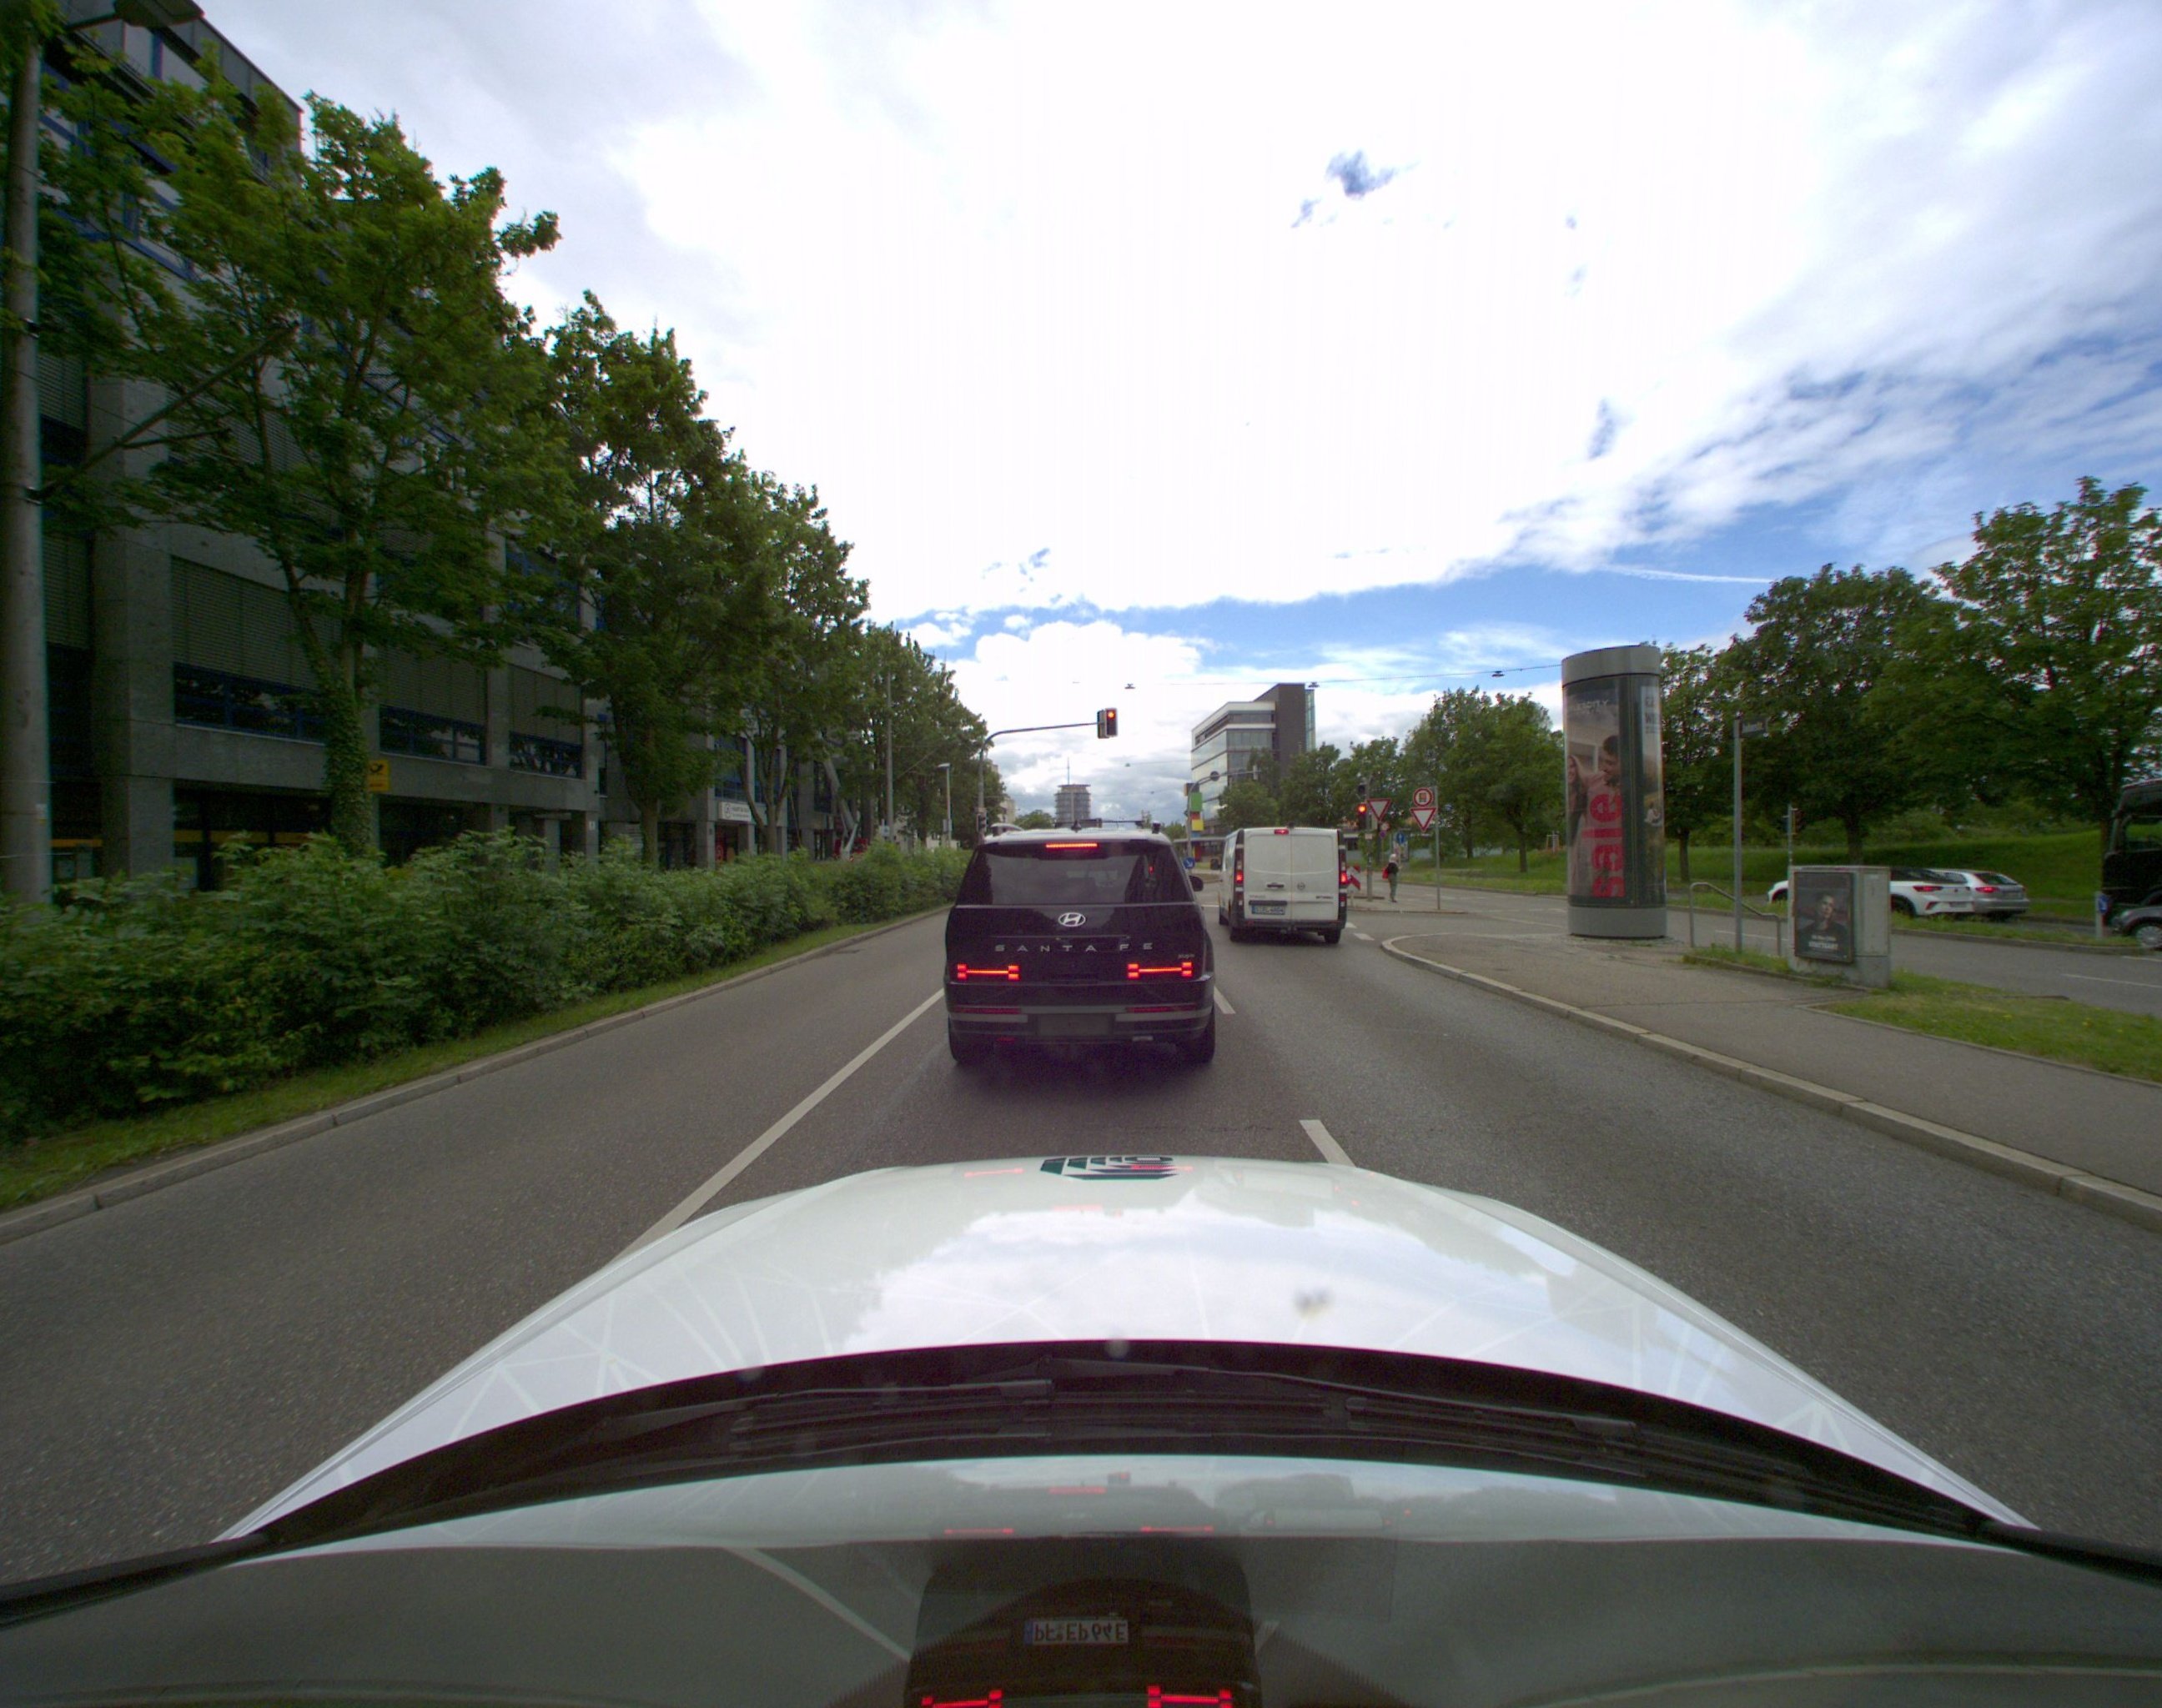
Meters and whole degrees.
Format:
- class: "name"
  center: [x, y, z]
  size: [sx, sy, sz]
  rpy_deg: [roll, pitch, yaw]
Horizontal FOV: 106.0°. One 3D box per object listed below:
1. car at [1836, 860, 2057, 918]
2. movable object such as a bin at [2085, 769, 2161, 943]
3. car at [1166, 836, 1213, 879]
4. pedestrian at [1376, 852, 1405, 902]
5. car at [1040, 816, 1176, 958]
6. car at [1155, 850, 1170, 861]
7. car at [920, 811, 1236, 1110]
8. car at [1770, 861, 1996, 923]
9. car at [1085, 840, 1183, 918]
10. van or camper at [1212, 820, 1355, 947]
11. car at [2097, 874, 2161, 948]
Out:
- class: "car"
  center: [25.086, 0.965, 23.826]
  size: [1.994, 1.453, 3.985]
  rpy_deg: [1, 0, -11]
- class: "movable object such as a bin"
  center: [26.247, -0.010, 15.556]
  size: [2.860, 3.903, 8.536]
  rpy_deg: [-1, -1, -11]
- class: "car"
  center: [5.340, 0.199, 40.568]
  size: [1.985, 2.014, 4.003]
  rpy_deg: [-1, -1, 3]
- class: "pedestrian"
  center: [10.103, 0.746, 26.566]
  size: [0.744, 1.584, 0.567]
  rpy_deg: [1, 0, -38]
- class: "car"
  center: [0.448, 0.469, 13.683]
  size: [1.908, 2.003, 3.881]
  rpy_deg: [-1, 0, 2]
- class: "car"
  center: [13.161, 0.314, 131.765]
  size: [1.987, 1.684, 3.998]
  rpy_deg: [-1, -1, -1]
- class: "car"
  center: [0.041, 0.640, 6.845]
  size: [1.862, 1.760, 3.881]
  rpy_deg: [-1, 0, 2]
- class: "car"
  center: [21.753, 0.985, 22.328]
  size: [1.994, 1.453, 3.985]
  rpy_deg: [1, 0, -11]
- class: "car"
  center: [1.444, 0.584, 20.364]
  size: [1.764, 1.717, 4.353]
  rpy_deg: [-1, -1, 12]
- class: "van or camper"
  center: [3.602, 0.470, 15.315]
  size: [1.983, 2.013, 4.661]
  rpy_deg: [-1, 0, 6]
- class: "car"
  center: [22.991, 1.198, 15.577]
  size: [1.994, 1.453, 3.985]
  rpy_deg: [1, 0, -11]
